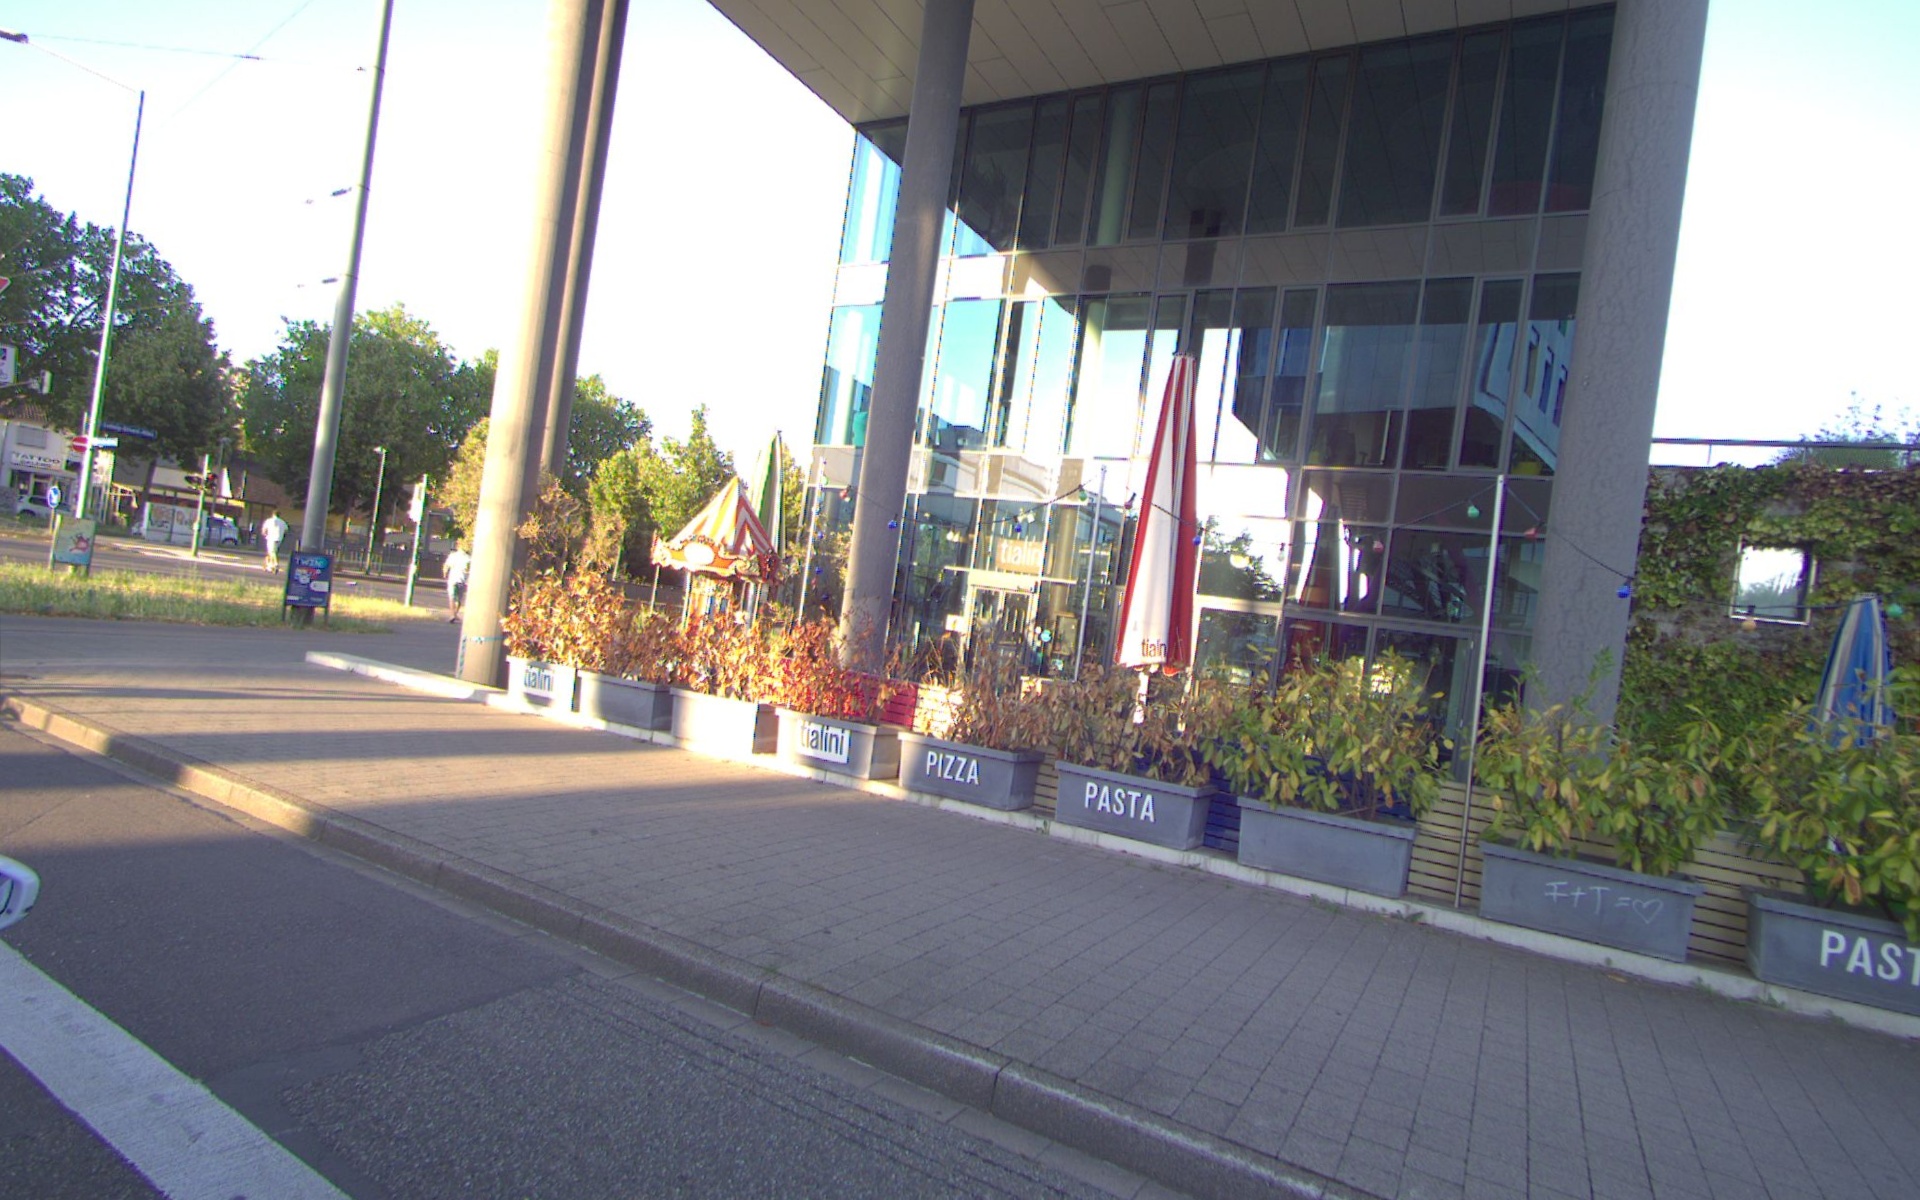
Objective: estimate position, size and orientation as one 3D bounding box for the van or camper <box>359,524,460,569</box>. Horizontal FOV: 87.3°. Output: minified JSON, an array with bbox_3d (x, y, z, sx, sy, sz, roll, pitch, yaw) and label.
[{"bbox_3d":[-43.924,-4.238,80.420,2.229,2.438,6.569,7,-2,36],"label":"van or camper"}]

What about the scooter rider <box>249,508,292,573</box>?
[{"bbox_3d":[-21.393,-1.837,31.221,0.658,1.876,0.703,7,-1,31],"label":"scooter rider"}]

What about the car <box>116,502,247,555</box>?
[{"bbox_3d":[-37.379,-3.402,48.439,1.829,1.748,4.547,7,-2,27],"label":"car"}]

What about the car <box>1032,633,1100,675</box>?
[{"bbox_3d":[5.878,3.009,55.539,1.826,1.849,4.390,10,0,31],"label":"car"}]

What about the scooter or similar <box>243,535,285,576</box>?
[{"bbox_3d":[-21.420,-1.358,30.954,1.222,1.103,0.511,7,-1,32],"label":"scooter or similar"}]

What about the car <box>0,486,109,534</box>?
[{"bbox_3d":[-50.543,-4.982,56.080,1.968,1.868,4.236,7,-2,34],"label":"car"}]

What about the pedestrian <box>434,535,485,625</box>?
[{"bbox_3d":[-10.840,-0.438,21.776,0.755,1.812,0.796,8,-1,-28],"label":"pedestrian"}]
